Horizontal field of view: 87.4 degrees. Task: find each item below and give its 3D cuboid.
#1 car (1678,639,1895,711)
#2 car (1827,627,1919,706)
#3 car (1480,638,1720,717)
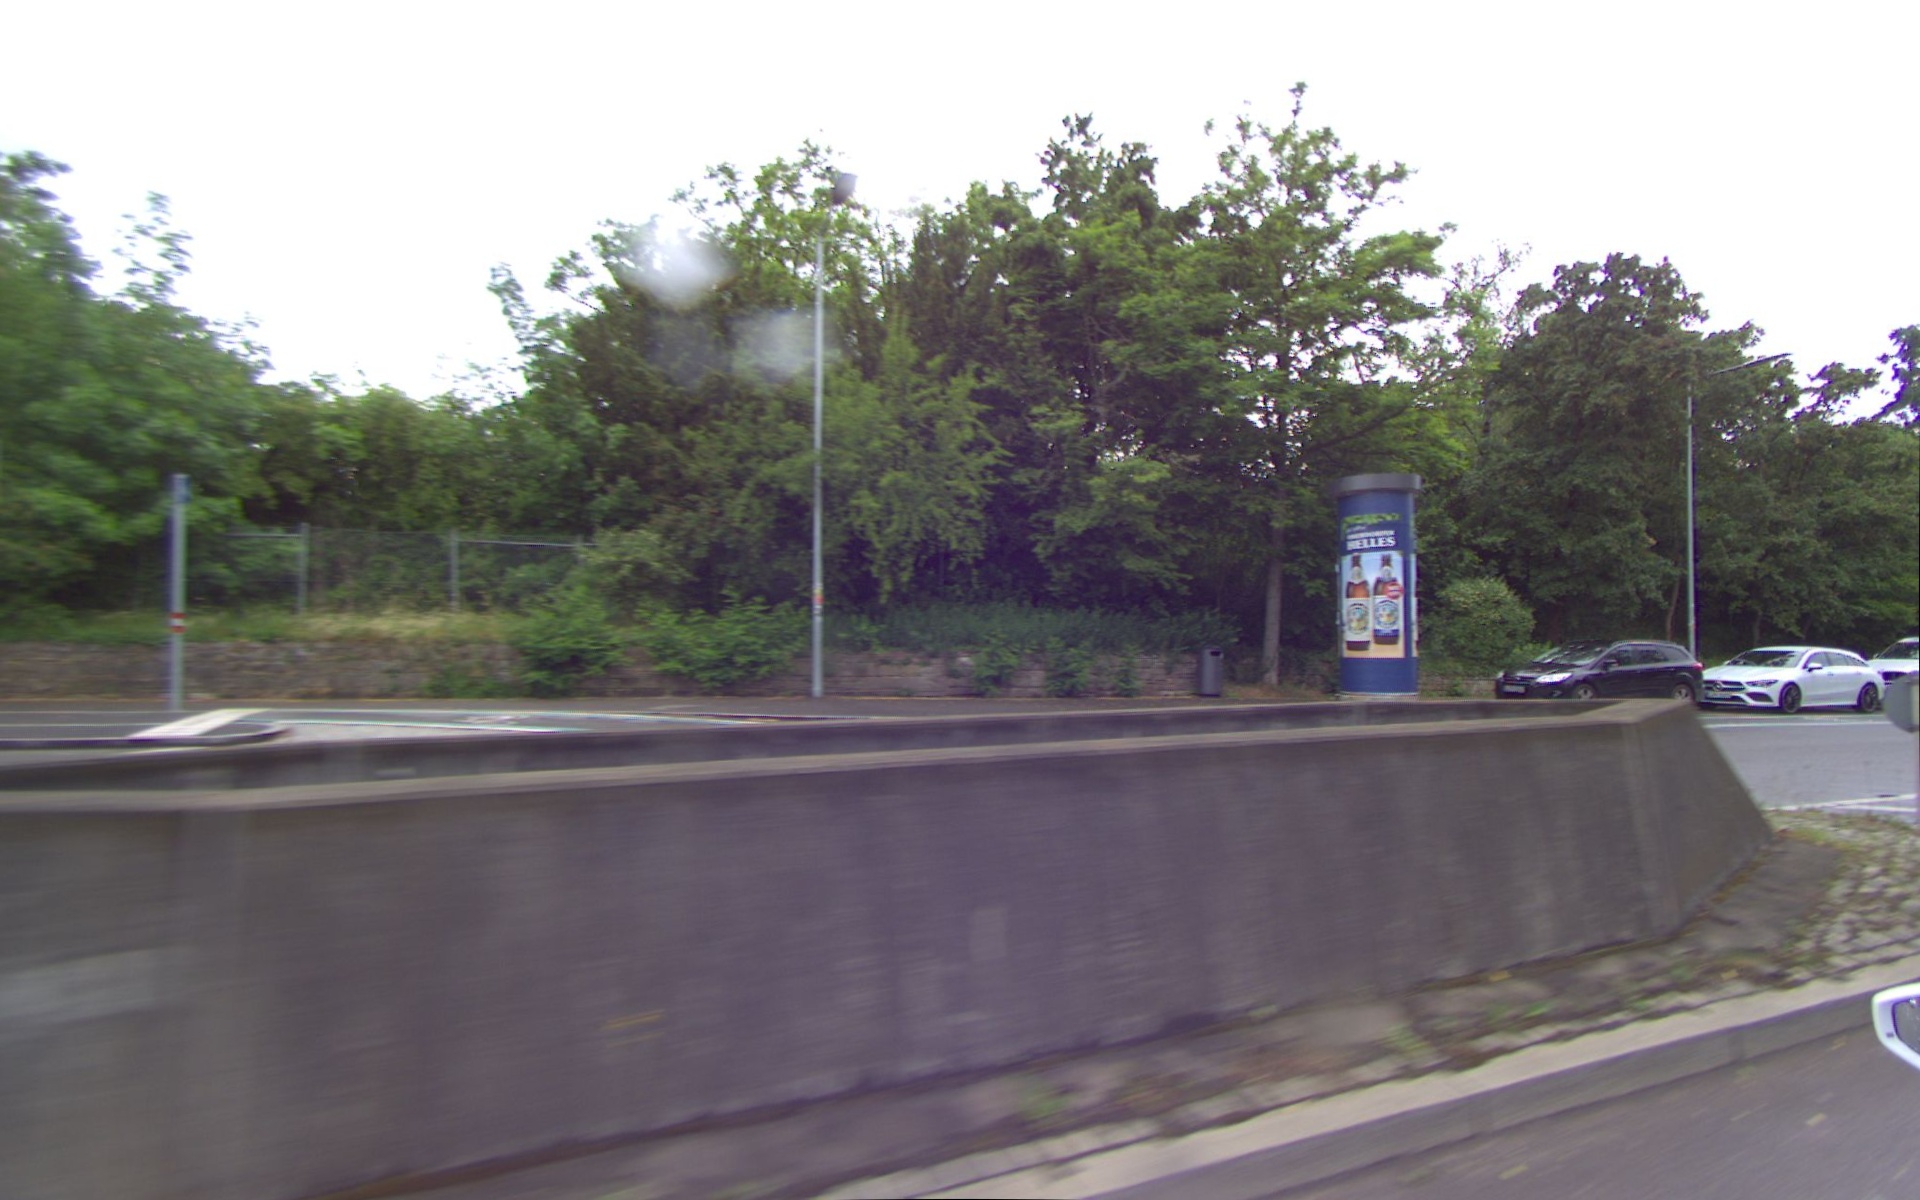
[{"bbox_3d":[18.541,1.632,22.525,4.638,1.479,1.716,1,-2,-21],"label":"car"},{"bbox_3d":[23.729,1.603,24.445,4.888,1.788,1.990,2,-2,-22],"label":"car"},{"bbox_3d":[13.073,1.535,20.540,4.515,1.464,1.747,1,-1,-19],"label":"car"}]
